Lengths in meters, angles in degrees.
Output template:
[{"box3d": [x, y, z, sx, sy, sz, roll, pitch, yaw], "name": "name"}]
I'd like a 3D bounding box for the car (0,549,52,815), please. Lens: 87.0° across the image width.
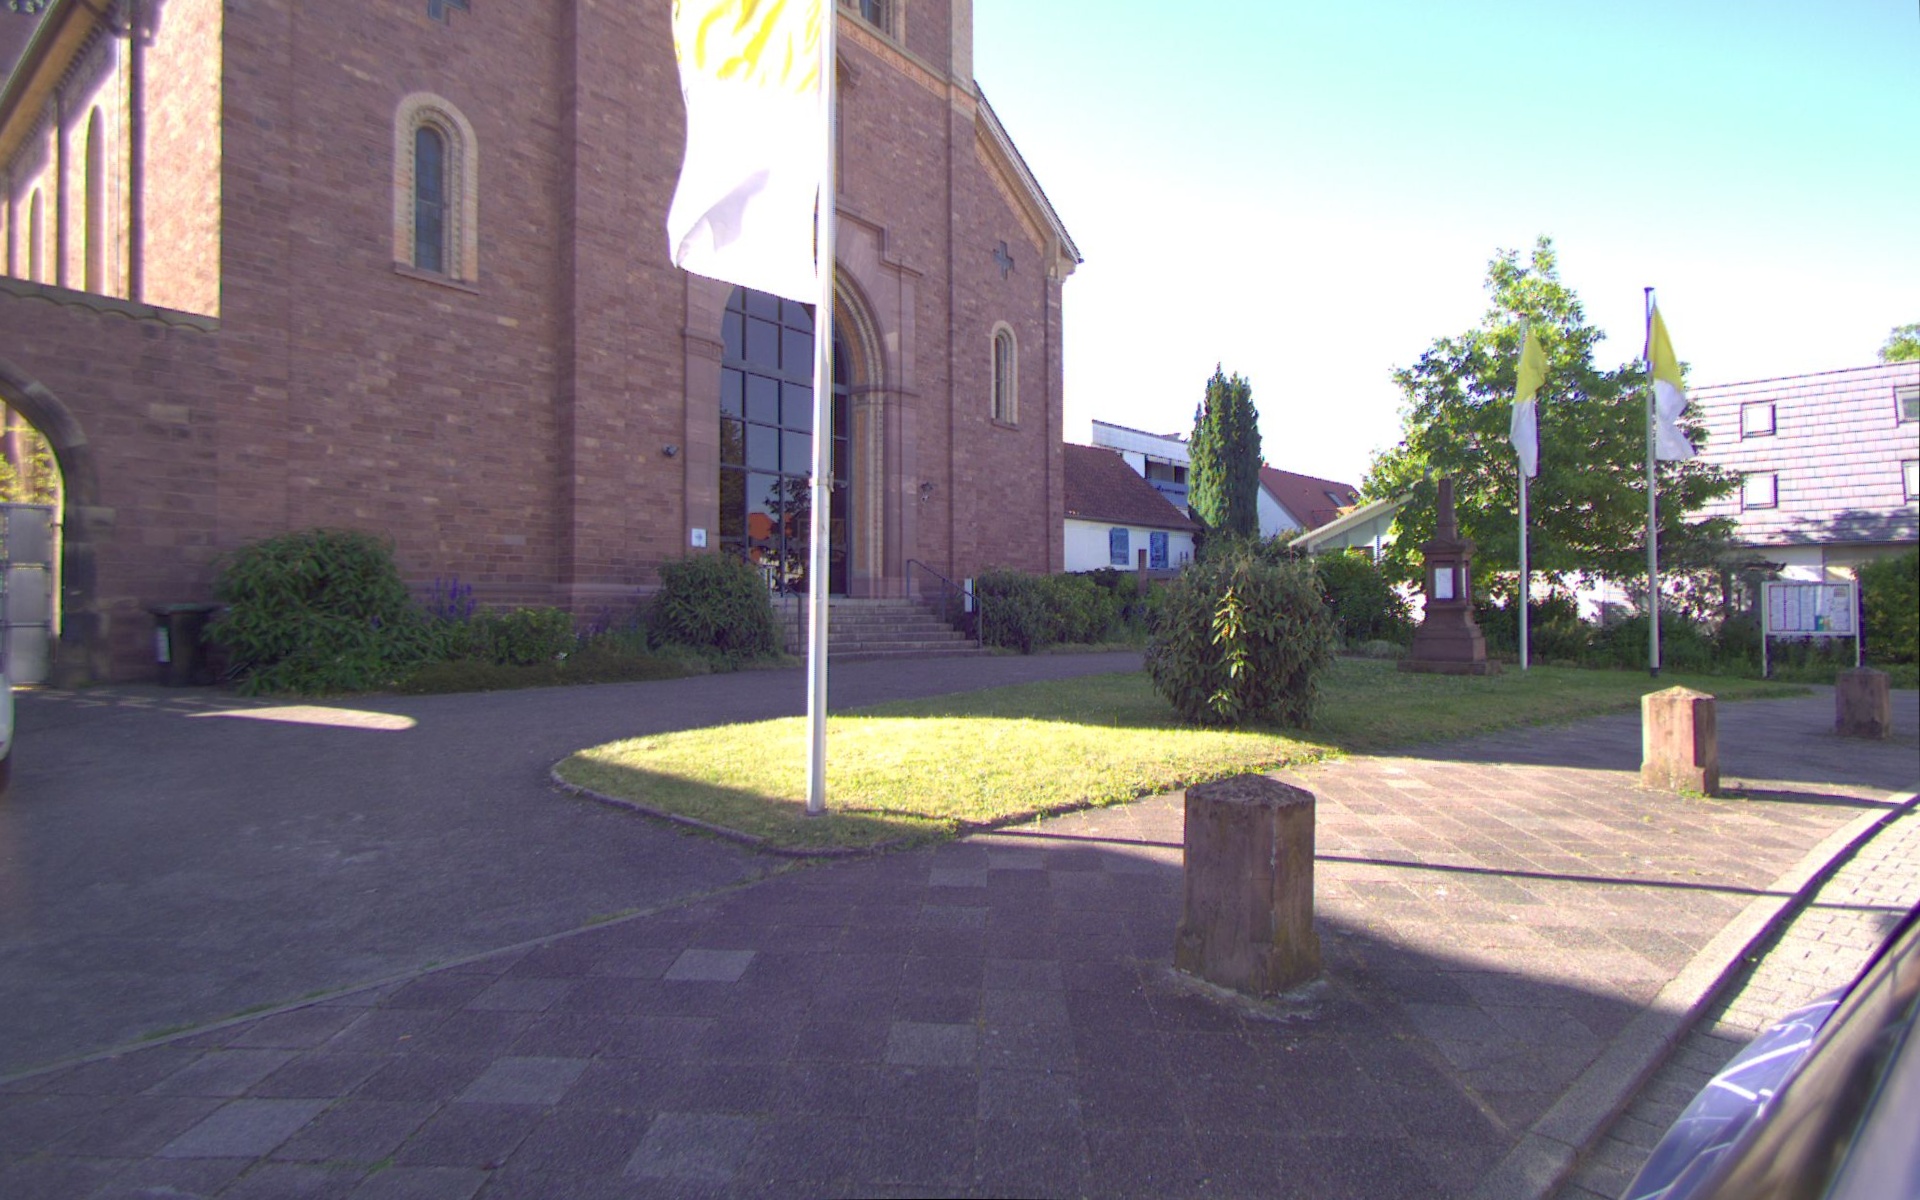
[{"box3d": [-7.488, 0.411, 6.502, 3.892, 1.514, 1.878, 3, 3, 39], "name": "car"}]
